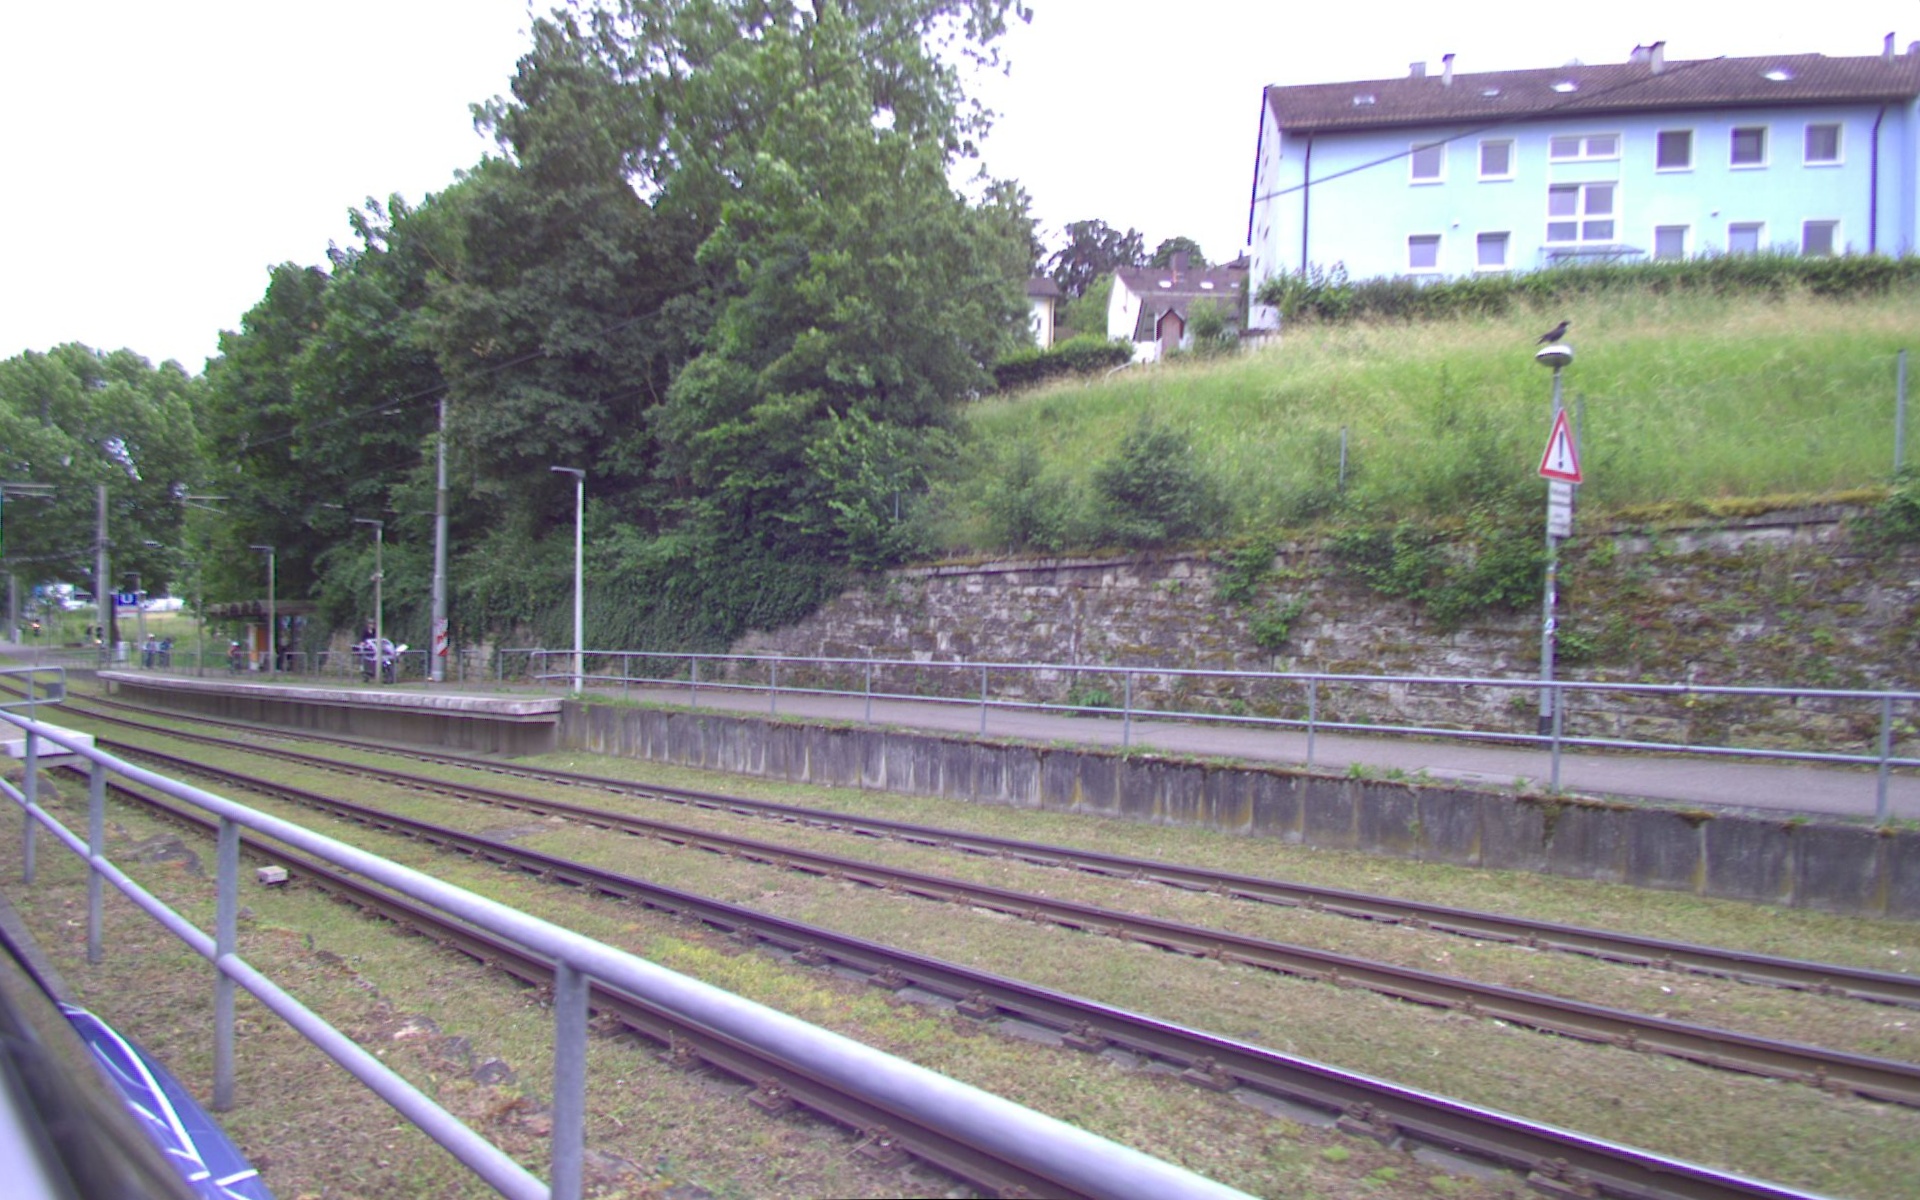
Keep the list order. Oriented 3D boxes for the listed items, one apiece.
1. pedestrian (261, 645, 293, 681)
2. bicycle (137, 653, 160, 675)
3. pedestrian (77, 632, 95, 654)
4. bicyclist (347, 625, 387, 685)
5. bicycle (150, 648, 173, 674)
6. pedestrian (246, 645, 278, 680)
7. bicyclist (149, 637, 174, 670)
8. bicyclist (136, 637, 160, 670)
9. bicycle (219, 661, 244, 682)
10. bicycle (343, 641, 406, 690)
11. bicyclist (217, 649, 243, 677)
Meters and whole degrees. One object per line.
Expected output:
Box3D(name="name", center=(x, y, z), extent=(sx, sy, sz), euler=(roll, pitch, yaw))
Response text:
Box3D(name="pedestrian", center=(-26.835, 2.468, 39.780), extent=(0.772, 1.385, 0.813), euler=(-1, 0, 35))
Box3D(name="bicycle", center=(-36.590, 2.909, 45.616), extent=(1.843, 0.932, 0.472), euler=(-4, -2, 41))
Box3D(name="pedestrian", center=(-70.413, 3.447, 81.549), extent=(1.100, 1.747, 0.695), euler=(-1, 0, -39))
Box3D(name="bicyclist", center=(-16.821, 1.554, 28.698), extent=(1.033, 1.641, 0.696), euler=(-4, -1, 44))
Box3D(name="bicycle", center=(-37.075, 2.833, 46.963), extent=(1.939, 1.197, 0.458), euler=(-4, -2, 41))
Box3D(name="pedestrian", center=(-27.863, 2.468, 40.391), extent=(0.772, 1.333, 0.813), euler=(-1, 0, 35))
Box3D(name="bicyclist", center=(-37.068, 2.475, 46.981), extent=(0.839, 1.454, 0.722), euler=(-4, -2, 39))
Box3D(name="bicyclist", center=(-36.597, 2.403, 45.610), extent=(0.908, 1.442, 0.737), euler=(-5, -3, 43))
Box3D(name="bicycle", center=(-28.382, 2.770, 39.424), extent=(1.564, 0.787, 0.445), euler=(-3, -2, 41))
Box3D(name="bicycle", center=(-16.337, 1.816, 28.198), extent=(2.867, 1.249, 0.742), euler=(-3, -1, 45))
Box3D(name="bicyclist", center=(-28.424, 2.446, 39.411), extent=(0.744, 1.061, 0.682), euler=(-3, -2, 41))
